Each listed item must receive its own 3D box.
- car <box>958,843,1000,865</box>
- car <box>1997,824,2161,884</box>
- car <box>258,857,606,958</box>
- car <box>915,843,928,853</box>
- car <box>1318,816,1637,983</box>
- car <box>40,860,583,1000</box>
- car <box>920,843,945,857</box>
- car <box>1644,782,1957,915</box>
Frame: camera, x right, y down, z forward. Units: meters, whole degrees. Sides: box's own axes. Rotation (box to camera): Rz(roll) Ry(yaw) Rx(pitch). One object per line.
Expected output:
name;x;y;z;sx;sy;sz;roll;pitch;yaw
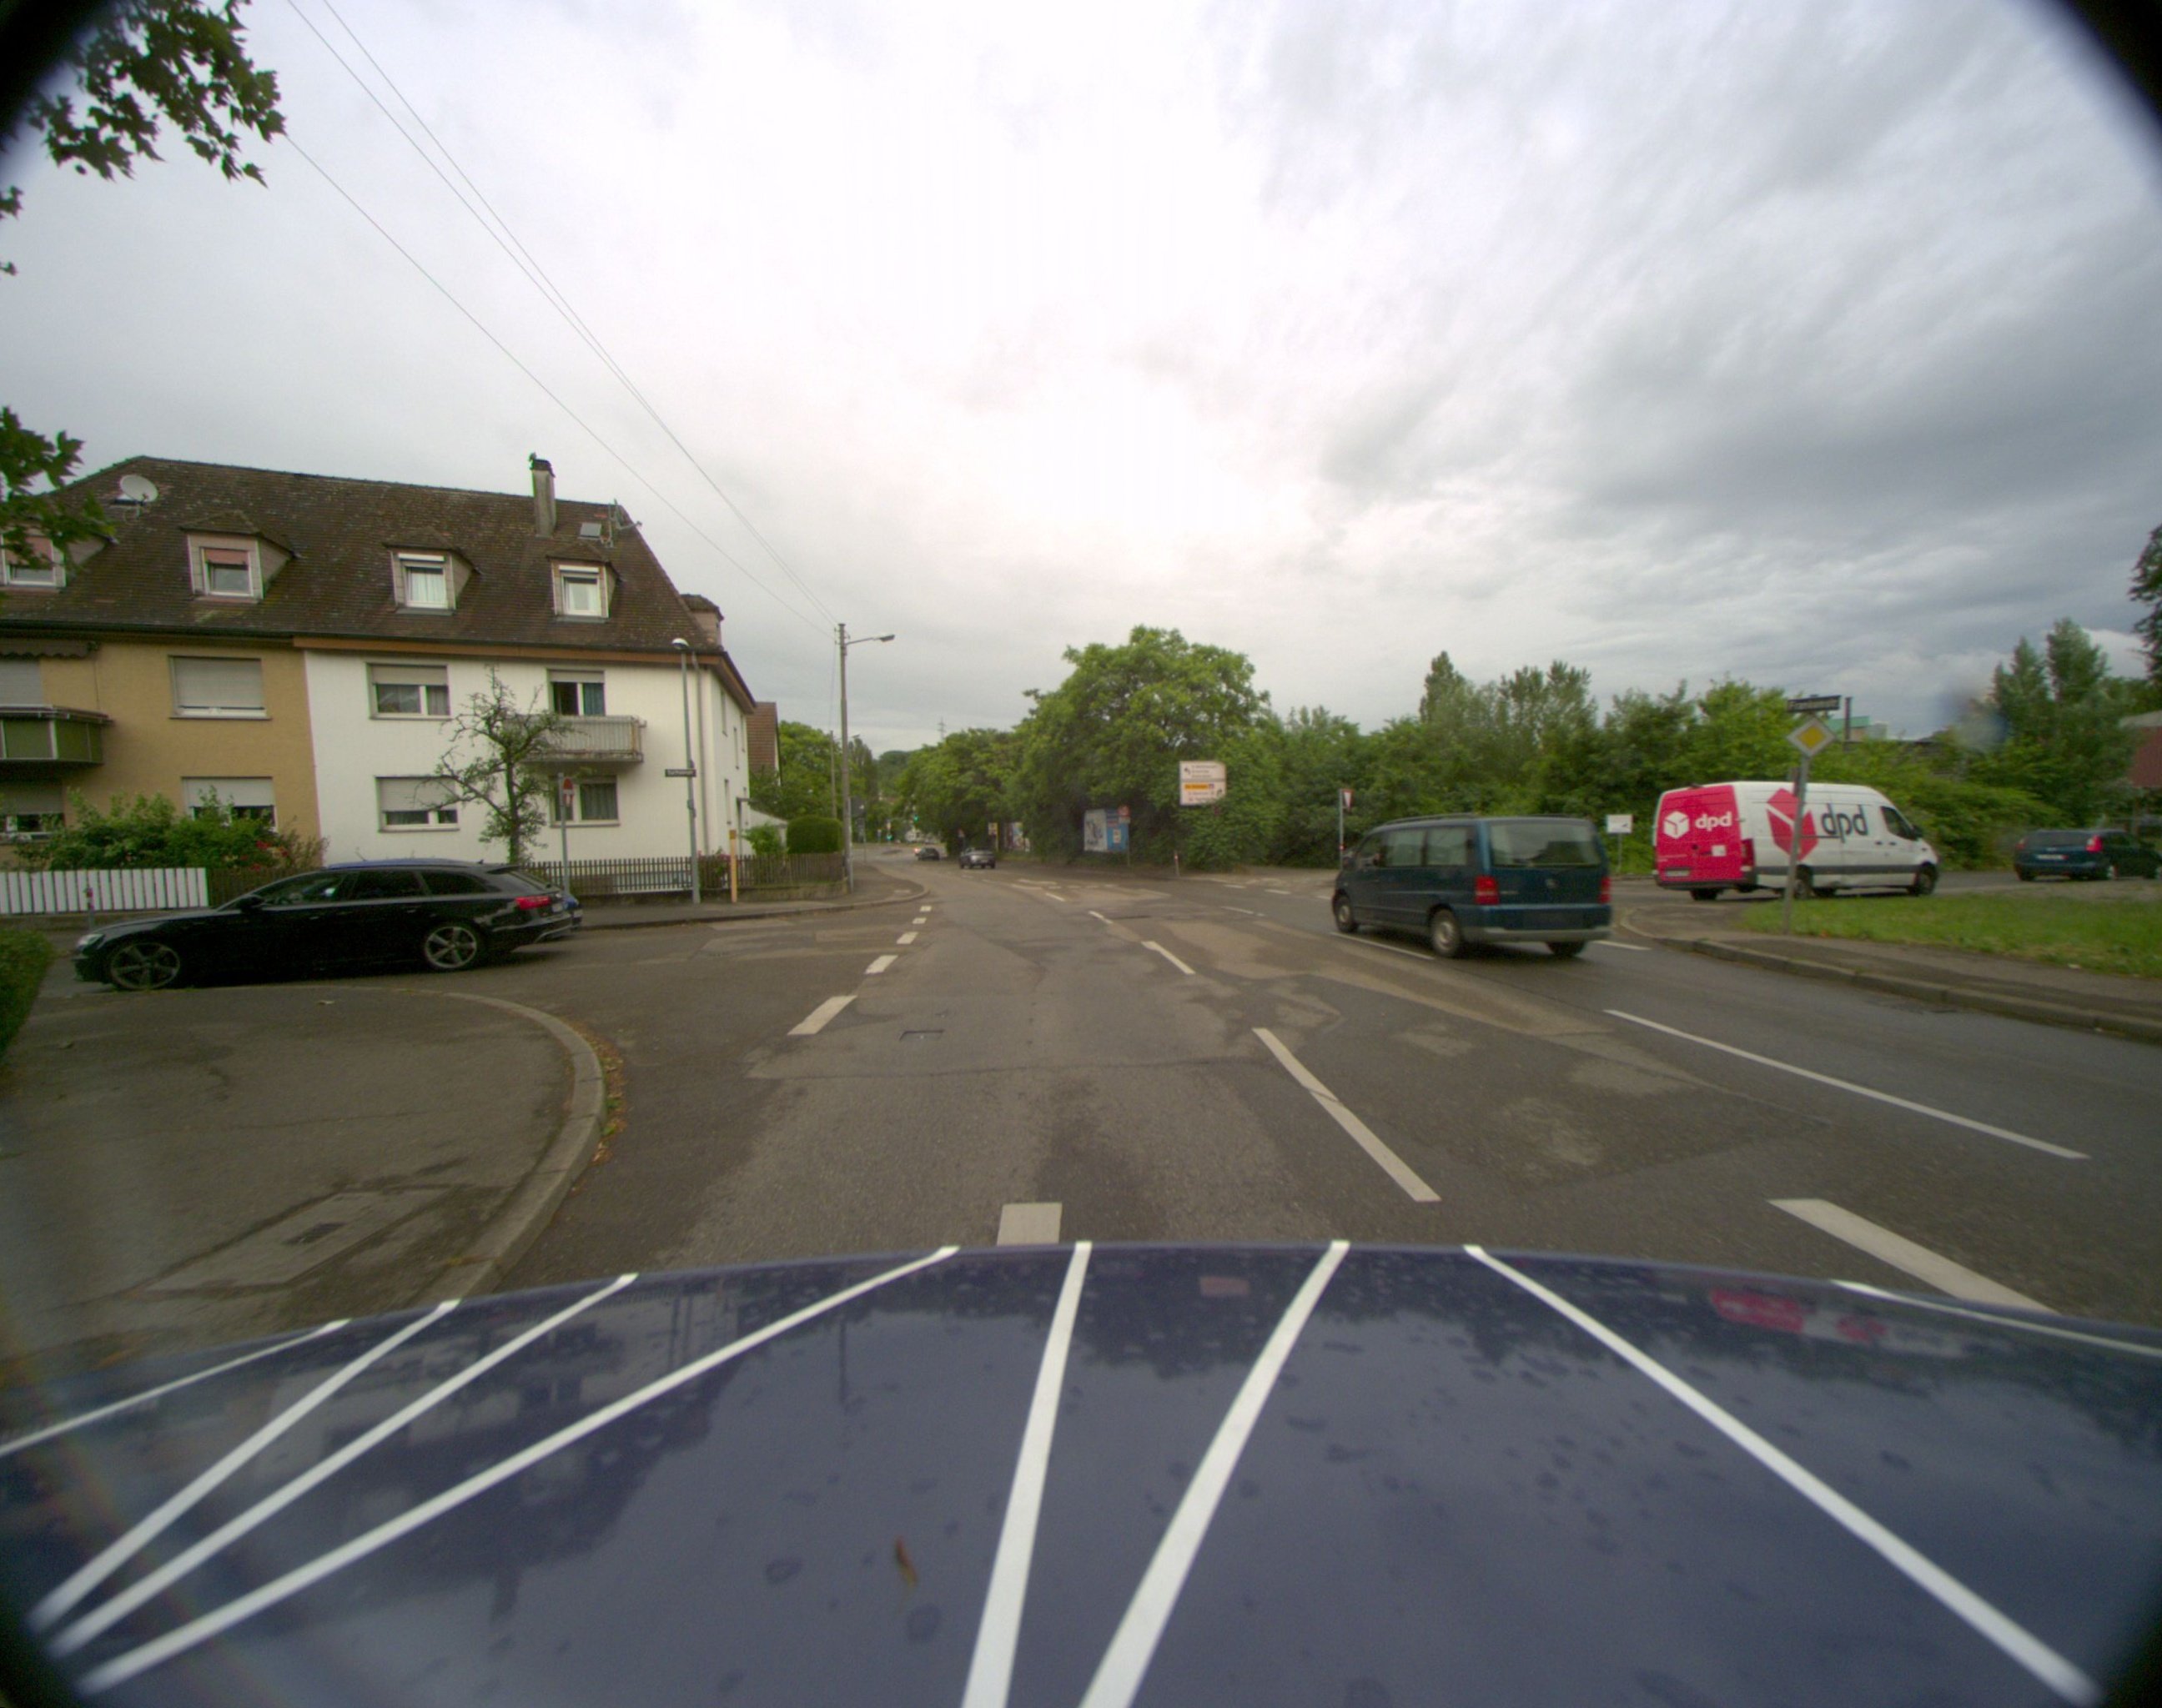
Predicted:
car;-7.152;-0.005;53.037;1.903;1.453;3.992;-1;1;-22
car;30.536;-0.043;23.204;4.256;1.620;1.996;-2;2;-21
car;-10.898;0.831;13.158;4.129;1.472;1.883;-1;1;-16
car;-25.446;-0.933;121.116;1.674;1.460;3.776;-1;1;-8
car;5.433;0.492;11.298;1.963;1.920;4.680;-1;1;-5
car;-9.876;0.871;10.401;4.823;1.472;1.882;-1;1;-23
car;-16.884;-0.508;86.026;2.002;1.435;4.765;1;1;-21
car;16.462;-0.229;17.392;6.828;2.640;2.259;-2;2;-19
